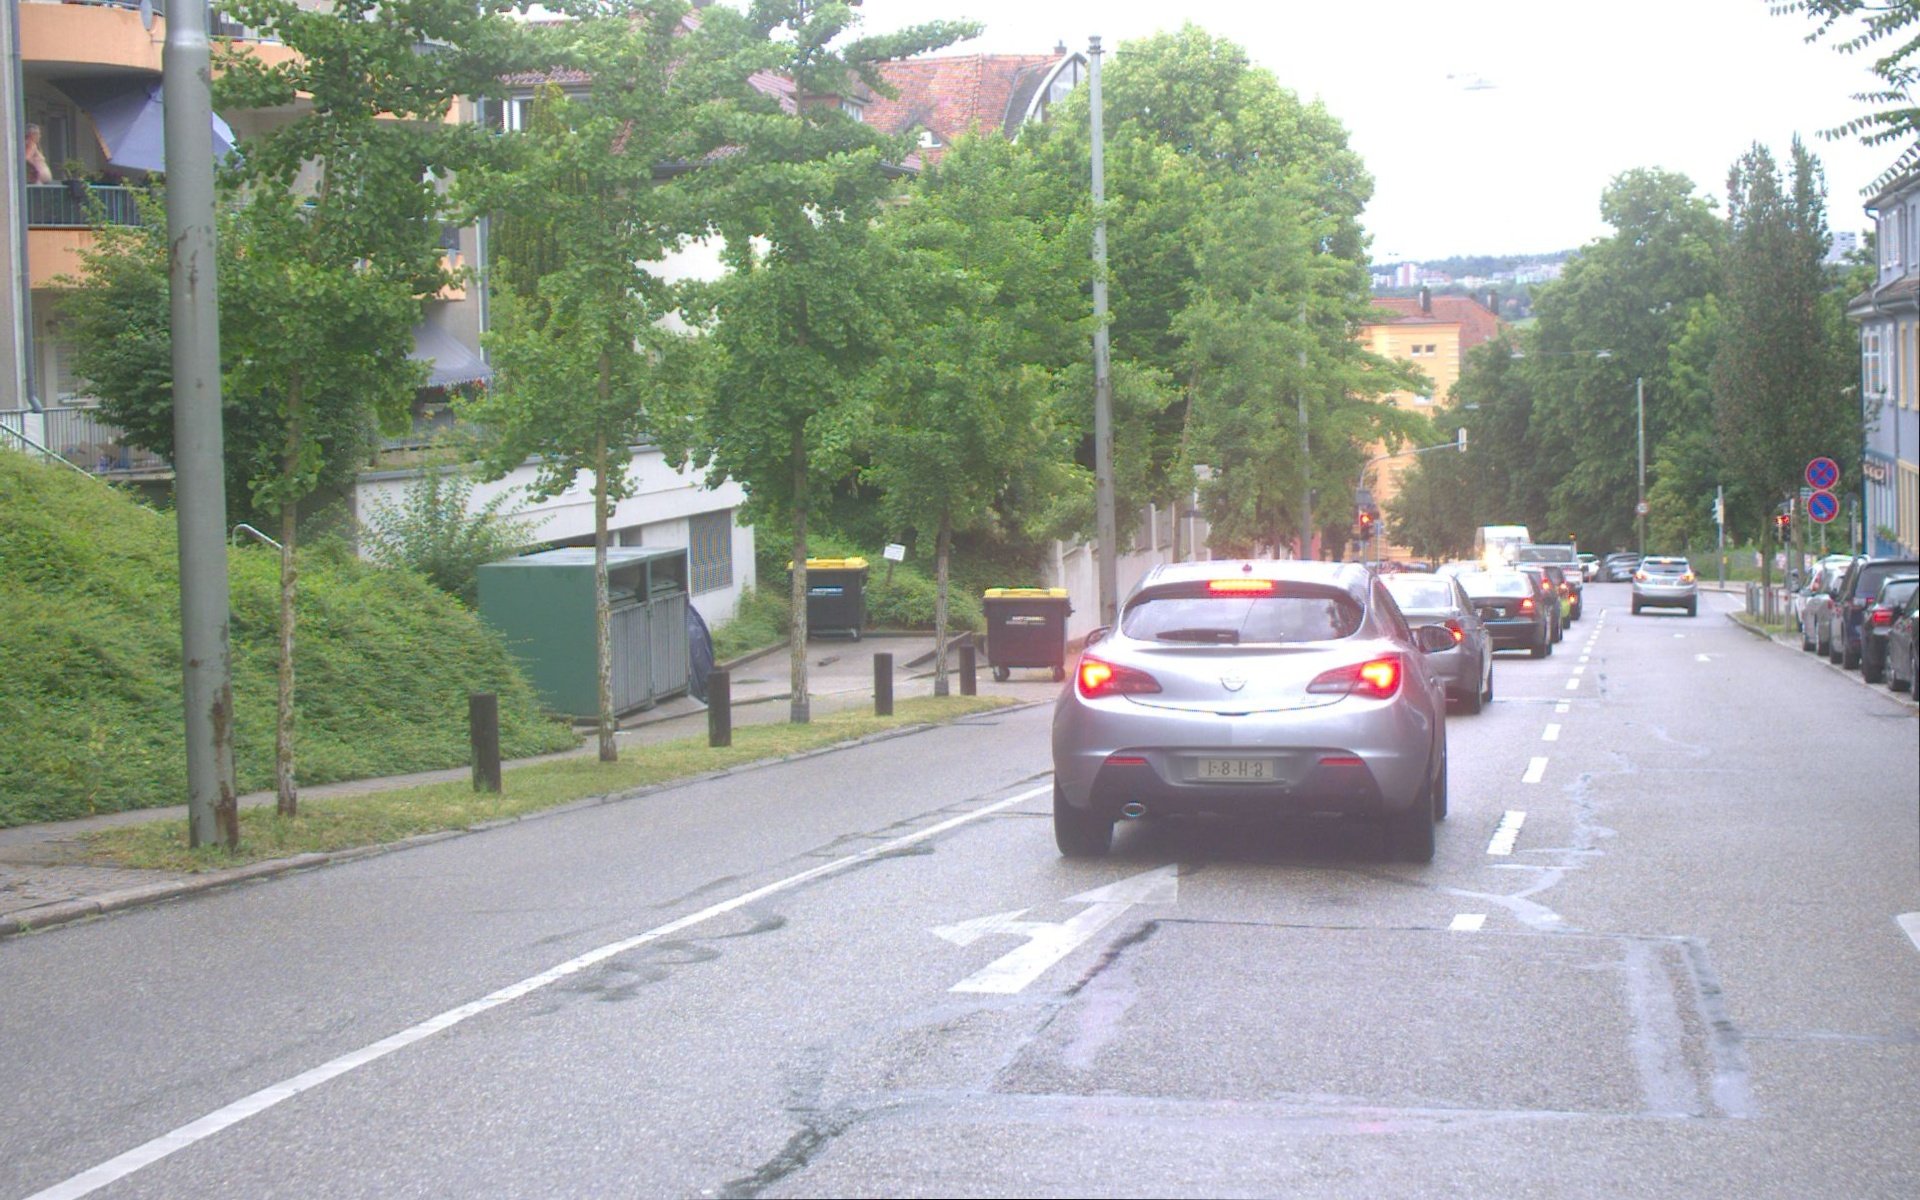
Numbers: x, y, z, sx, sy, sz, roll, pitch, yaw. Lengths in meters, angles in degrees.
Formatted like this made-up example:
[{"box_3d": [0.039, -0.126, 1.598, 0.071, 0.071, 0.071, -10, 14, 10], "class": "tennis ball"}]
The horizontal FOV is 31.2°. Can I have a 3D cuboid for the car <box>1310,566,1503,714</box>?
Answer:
[{"box_3d": [4.480, 0.360, 34.930, 1.798, 1.318, 3.999, 1, 2, 6], "class": "car"}]

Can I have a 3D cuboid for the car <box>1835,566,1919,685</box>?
[{"box_3d": [12.615, 0.300, 45.789, 1.682, 1.459, 3.998, -1, 1, 12], "class": "car"}]

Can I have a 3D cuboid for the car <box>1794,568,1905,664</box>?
[{"box_3d": [14.865, 0.238, 57.570, 1.585, 1.488, 4.288, -1, 1, 12], "class": "car"}]

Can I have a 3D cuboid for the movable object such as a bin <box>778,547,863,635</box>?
[{"box_3d": [-2.246, -0.143, 55.370, 1.272, 1.382, 0.489, 1, 1, 9], "class": "movable object such as a bin"}]

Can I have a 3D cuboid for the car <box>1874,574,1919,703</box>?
[{"box_3d": [11.607, 0.416, 39.969, 1.504, 1.430, 3.998, -1, 0, 10], "class": "car"}]

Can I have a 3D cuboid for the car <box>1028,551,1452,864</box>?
[{"box_3d": [1.507, 0.478, 17.786, 1.945, 1.427, 3.883, 0, 0, 7], "class": "car"}]

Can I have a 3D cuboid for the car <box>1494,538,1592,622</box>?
[{"box_3d": [15.535, -0.560, 91.489, 2.335, 2.029, 4.733, 3, 2, 11], "class": "car"}]

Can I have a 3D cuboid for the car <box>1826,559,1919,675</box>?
[{"box_3d": [13.614, 0.219, 50.243, 1.686, 1.565, 3.998, -1, 1, 12], "class": "car"}]

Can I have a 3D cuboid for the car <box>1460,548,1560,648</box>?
[{"box_3d": [10.698, -0.074, 66.871, 1.769, 1.775, 3.975, 3, 2, 9], "class": "car"}]

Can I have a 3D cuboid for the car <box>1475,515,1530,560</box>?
[{"box_3d": [22.858, -2.653, 144.780, 1.995, 1.778, 3.998, 3, 2, 12], "class": "car"}]

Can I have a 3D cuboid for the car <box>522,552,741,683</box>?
[{"box_3d": [-4.018, 0.201, 42.628, 1.742, 1.452, 3.883, -4, 0, 9], "class": "car"}]

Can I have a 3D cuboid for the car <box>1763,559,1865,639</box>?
[{"box_3d": [17.940, -0.044, 72.347, 1.907, 1.565, 3.998, -1, 1, 12], "class": "car"}]

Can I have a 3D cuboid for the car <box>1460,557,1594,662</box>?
[{"box_3d": [9.038, 0.115, 54.893, 1.961, 1.467, 3.949, 3, 2, 9], "class": "car"}]

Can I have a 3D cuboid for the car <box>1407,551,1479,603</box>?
[{"box_3d": [14.904, -0.691, 105.880, 1.851, 1.464, 4.085, -3, 0, 12], "class": "car"}]

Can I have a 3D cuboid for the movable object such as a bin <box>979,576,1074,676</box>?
[{"box_3d": [0.951, 0.369, 48.984, 1.272, 1.382, 0.489, 1, 1, 9], "class": "movable object such as a bin"}]

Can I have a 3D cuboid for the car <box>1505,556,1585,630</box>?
[{"box_3d": [14.023, -0.166, 82.560, 1.755, 1.645, 3.998, 3, 1, 9], "class": "car"}]

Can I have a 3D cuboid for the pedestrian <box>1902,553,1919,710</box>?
[{"box_3d": [10.947, 0.334, 37.888, 0.734, 1.718, 0.765, -3, 1, -14], "class": "pedestrian"}]

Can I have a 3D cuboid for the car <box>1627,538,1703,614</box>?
[{"box_3d": [20.365, -0.710, 99.418, 1.994, 2.029, 4.733, 3, 2, 11], "class": "car"}]
